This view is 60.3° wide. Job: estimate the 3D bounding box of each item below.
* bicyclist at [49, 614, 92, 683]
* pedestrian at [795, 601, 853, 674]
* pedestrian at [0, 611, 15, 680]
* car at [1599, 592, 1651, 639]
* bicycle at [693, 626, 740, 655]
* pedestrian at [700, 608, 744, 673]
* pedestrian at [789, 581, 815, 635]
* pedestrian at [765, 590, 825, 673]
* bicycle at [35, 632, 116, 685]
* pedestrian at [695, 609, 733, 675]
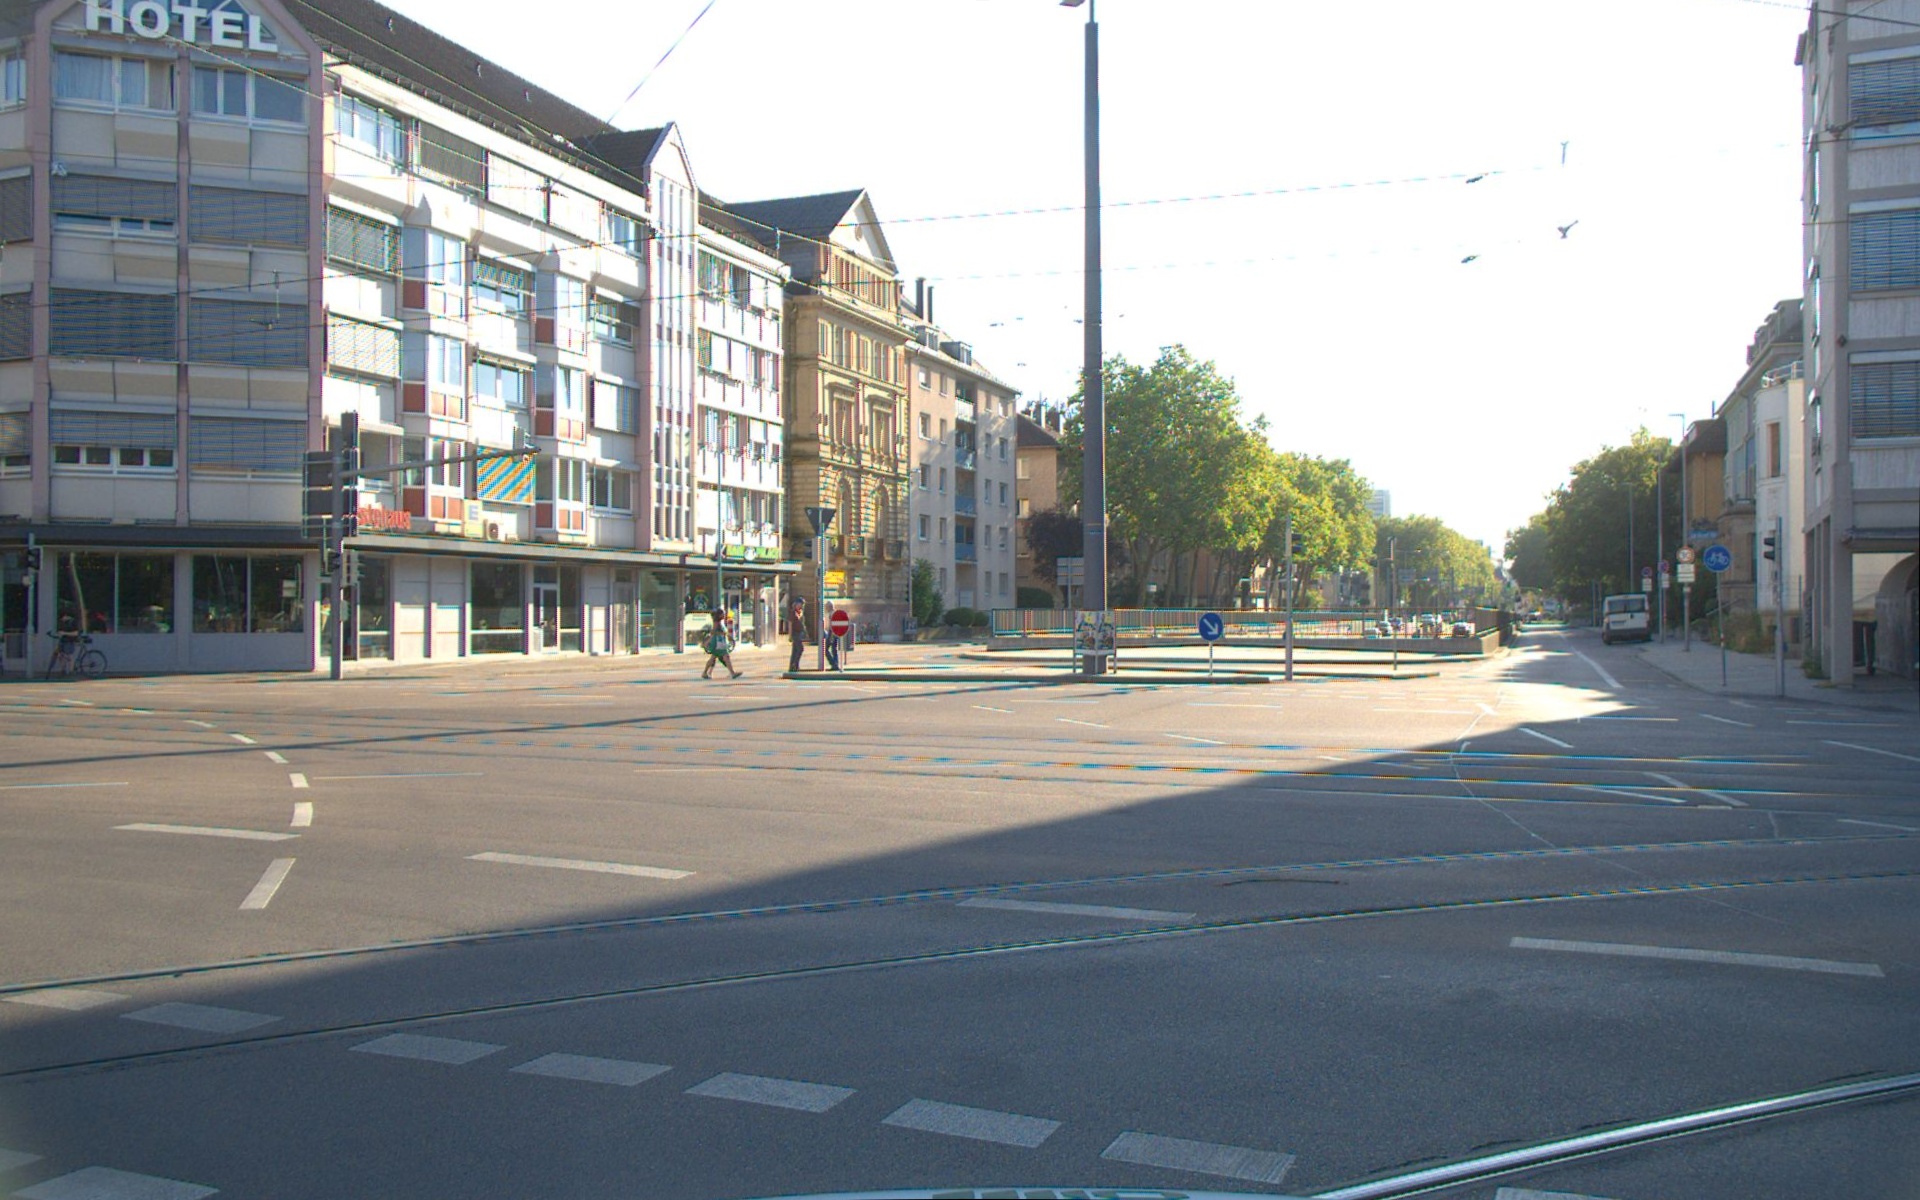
[{"bbox_3d":[-21.769,1.188,40.491,0.626,1.624,0.658,1,2,23],"label":"bicyclist"},{"bbox_3d":[-3.353,0.924,40.970,1.169,1.761,0.857,1,0,15],"label":"pedestrian"},{"bbox_3d":[-23.666,1.114,40.498,0.700,1.691,0.633,0,-1,-5],"label":"pedestrian"},{"bbox_3d":[32.699,0.768,81.443,2.239,2.210,4.833,1,0,21],"label":"car"},{"bbox_3d":[-9.419,1.569,64.074,0.443,1.089,2.084,1,0,36],"label":"bicycle"},{"bbox_3d":[-5.486,0.928,38.203,0.690,1.479,0.857,1,0,15],"label":"pedestrian"},{"bbox_3d":[-7.281,0.385,76.173,0.907,2.440,0.961,1,-1,9],"label":"pedestrian"},{"bbox_3d":[-3.965,0.742,39.776,1.169,1.916,0.857,1,1,15],"label":"pedestrian"},{"bbox_3d":[-21.715,1.414,40.648,0.626,1.165,1.769,1,2,22],"label":"bicycle"},{"bbox_3d":[-5.816,1.002,39.070,0.838,1.491,0.684,2,-5,-10],"label":"pedestrian"}]
